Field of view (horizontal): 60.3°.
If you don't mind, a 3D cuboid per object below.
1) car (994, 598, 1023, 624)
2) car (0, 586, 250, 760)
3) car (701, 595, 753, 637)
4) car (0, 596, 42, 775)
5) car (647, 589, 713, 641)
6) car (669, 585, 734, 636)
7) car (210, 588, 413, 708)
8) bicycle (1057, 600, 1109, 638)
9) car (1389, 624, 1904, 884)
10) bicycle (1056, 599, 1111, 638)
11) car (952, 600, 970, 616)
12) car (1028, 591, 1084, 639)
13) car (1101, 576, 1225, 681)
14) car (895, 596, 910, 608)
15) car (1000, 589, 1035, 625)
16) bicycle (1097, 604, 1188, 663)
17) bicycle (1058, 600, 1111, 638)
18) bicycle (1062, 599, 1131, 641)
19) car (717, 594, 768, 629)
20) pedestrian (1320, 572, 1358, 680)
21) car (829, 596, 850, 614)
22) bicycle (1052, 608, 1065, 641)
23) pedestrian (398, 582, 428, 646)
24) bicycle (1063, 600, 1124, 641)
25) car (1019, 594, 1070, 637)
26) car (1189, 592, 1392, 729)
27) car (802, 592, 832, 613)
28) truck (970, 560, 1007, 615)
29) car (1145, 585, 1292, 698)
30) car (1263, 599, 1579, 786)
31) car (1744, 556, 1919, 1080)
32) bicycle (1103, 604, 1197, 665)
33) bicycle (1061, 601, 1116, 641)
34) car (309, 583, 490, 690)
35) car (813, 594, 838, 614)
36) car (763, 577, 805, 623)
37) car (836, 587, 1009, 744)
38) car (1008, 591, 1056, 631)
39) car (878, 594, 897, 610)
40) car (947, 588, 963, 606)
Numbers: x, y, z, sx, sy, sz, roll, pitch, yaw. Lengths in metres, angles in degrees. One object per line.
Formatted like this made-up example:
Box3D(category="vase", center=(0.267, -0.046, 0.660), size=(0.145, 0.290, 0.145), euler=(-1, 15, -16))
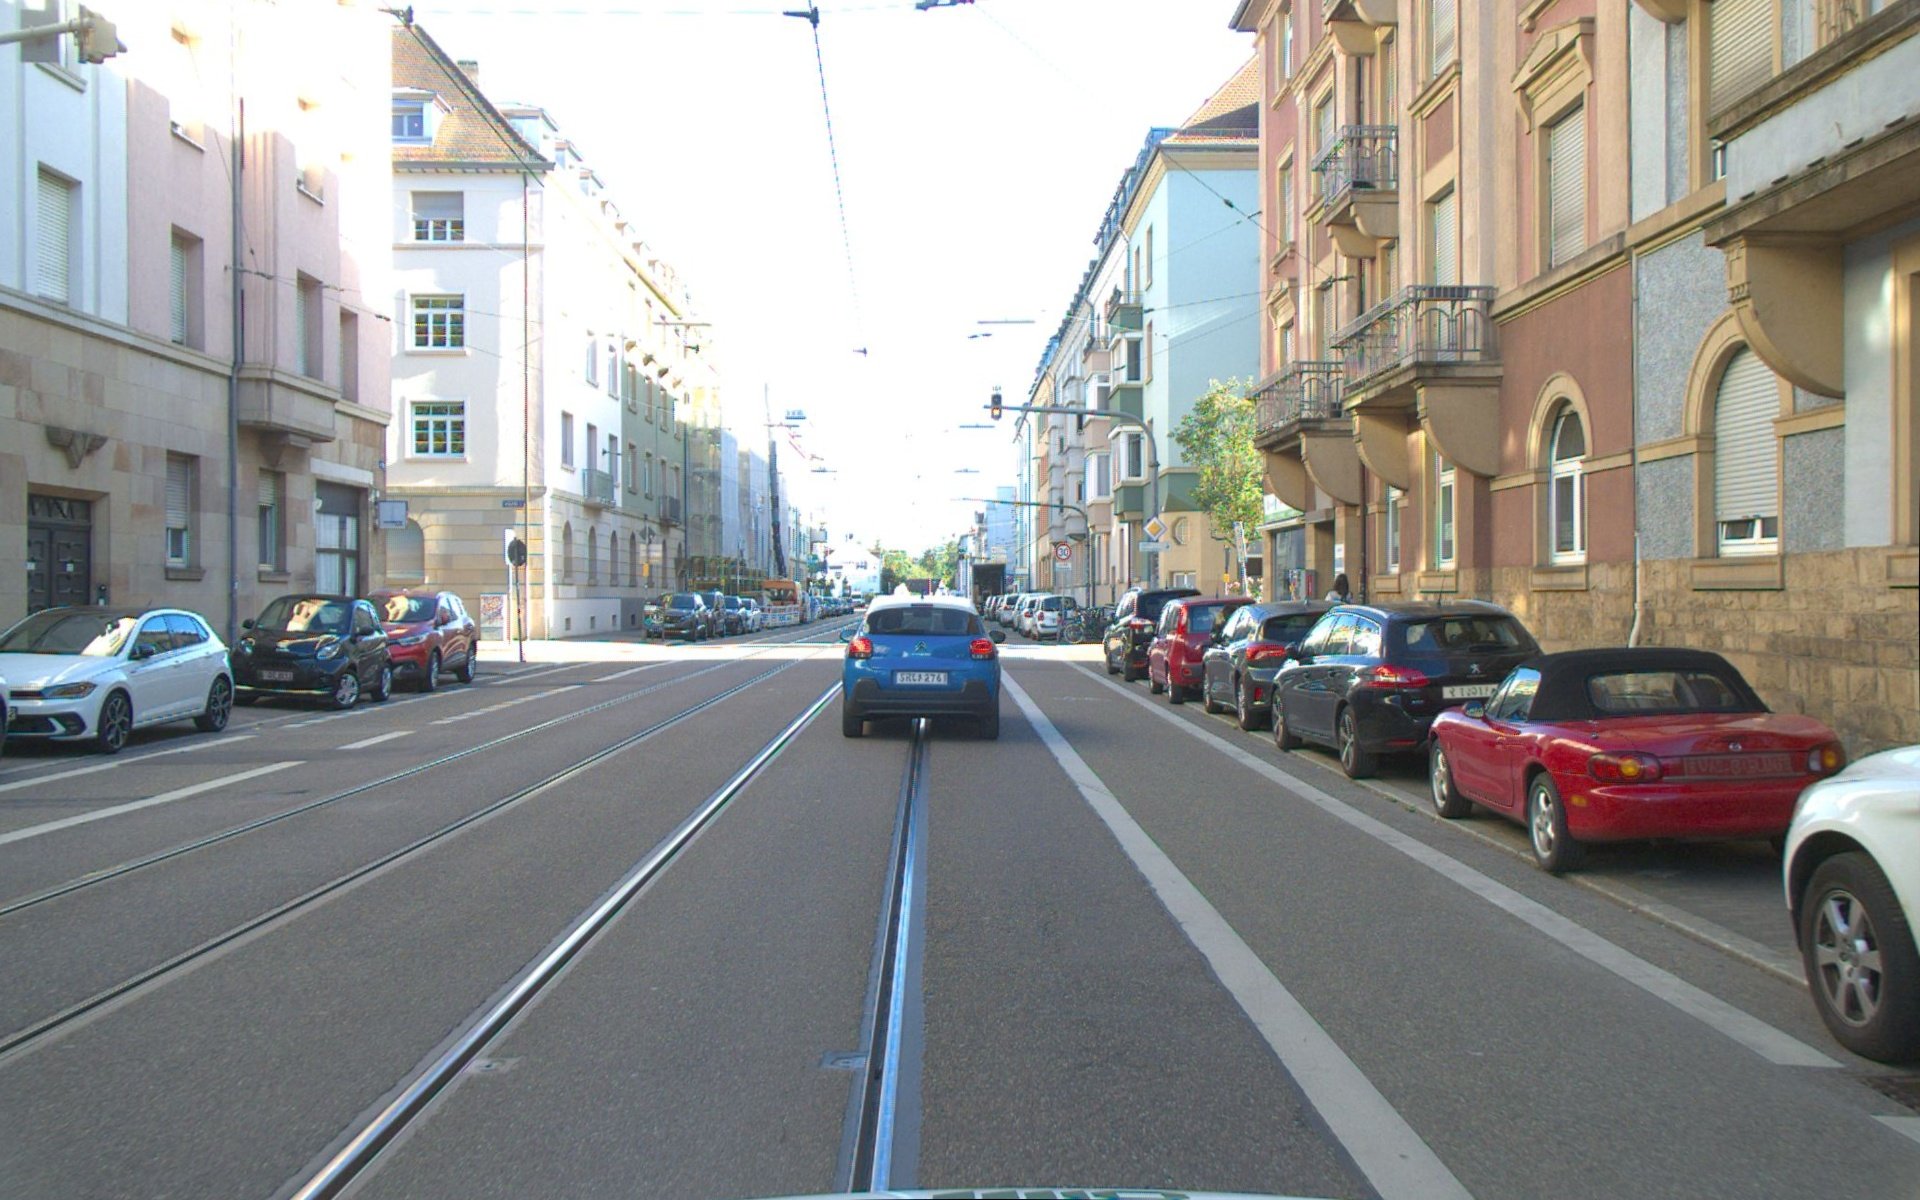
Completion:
Box3D(category="car", center=(3.004, 0.674, 103.531), size=(1.630, 1.546, 4.221), euler=(0, 0, -1))
Box3D(category="car", center=(-9.503, 0.697, 18.147), size=(1.747, 1.650, 4.177), euler=(2, 0, -3))
Box3D(category="car", center=(-9.898, 0.651, 70.489), size=(1.747, 1.655, 4.606), euler=(2, 0, -3))
Box3D(category="car", center=(-9.269, 0.739, 13.052), size=(1.736, 1.574, 4.363), euler=(2, 0, -3))
Box3D(category="car", center=(-9.946, 0.494, 59.040), size=(1.747, 1.720, 4.665), euler=(2, 0, -3))
Box3D(category="car", center=(-10.039, 0.383, 64.536), size=(1.747, 1.848, 4.528), euler=(2, 0, 0))
Box3D(category="car", center=(-9.349, 0.646, 24.069), size=(1.747, 1.580, 3.019), euler=(2, 0, -1))
Box3D(category="bicycle", center=(4.144, 0.632, 55.763), size=(1.688, 1.174, 0.469), euler=(-4, 0, -1))
Box3D(category="car", center=(4.150, 0.832, 10.847), size=(1.620, 1.271, 4.506), euler=(0, 0, 2))
Box3D(category="bicycle", center=(4.068, 0.607, 54.514), size=(1.688, 1.174, 0.469), euler=(-4, 0, -1))
Box3D(category="car", center=(0.063, 0.787, 163.362), size=(1.729, 1.513, 4.031), euler=(0, 0, -1))
Box3D(category="car", center=(3.408, 0.523, 59.167), size=(1.747, 1.660, 3.999), euler=(0, 0, -1))
Box3D(category="car", center=(3.792, 0.503, 31.585), size=(1.718, 1.766, 4.506), euler=(-3, 0, 0))
Box3D(category="car", center=(-7.529, 0.262, 216.922), size=(1.788, 1.660, 4.490), euler=(0, 0, -1))
Box3D(category="car", center=(3.031, 0.378, 88.053), size=(1.695, 1.859, 4.686), euler=(0, 0, -1))
Box3D(category="bicycle", center=(4.020, 0.726, 36.524), size=(1.919, 1.248, 0.527), euler=(-1, 0, -1))
Box3D(category="bicycle", center=(4.143, 0.630, 55.136), size=(1.688, 1.174, 0.469), euler=(-4, 0, -1))
Box3D(category="bicycle", center=(4.232, 0.611, 51.368), size=(2.044, 1.174, 0.848), euler=(-3, 0, -1))
Box3D(category="car", center=(-10.068, 0.507, 76.702), size=(1.683, 1.529, 4.388), euler=(2, 0, 1))
Box3D(category="pedestrian", center=(6.080, 0.409, 26.560), size=(0.502, 1.716, 0.448), euler=(0, 0, -1))
Box3D(category="car", center=(-11.697, 0.459, 160.405), size=(1.789, 1.660, 3.904), euler=(0, 0, -1))
Box3D(category="bicycle", center=(3.217, 0.786, 54.299), size=(0.345, 1.063, 1.728), euler=(0, 0, 1))
Box3D(category="pedestrian", center=(-15.107, 0.386, 45.688), size=(0.594, 1.742, 0.731), euler=(0, 0, -1))
Box3D(category="bicycle", center=(4.202, 0.653, 52.051), size=(1.805, 1.174, 0.469), euler=(-4, 0, -1))
Box3D(category="car", center=(3.292, 0.596, 64.847), size=(1.747, 1.603, 4.326), euler=(0, 0, -1))
Box3D(category="car", center=(4.040, 0.679, 20.898), size=(1.620, 1.539, 4.473), euler=(0, 0, -1))
Box3D(category="car", center=(-11.603, 0.188, 134.559), size=(2.101, 1.650, 3.999), euler=(-1, 0, -1))
Box3D(category="truck", center=(2.191, -0.963, 130.090), size=(2.794, 4.154, 11.271), euler=(0, 0, 0))
Box3D(category="car", center=(3.918, 0.596, 25.619), size=(1.717, 1.622, 3.729), euler=(0, 0, 0))
Box3D(category="car", center=(4.148, 0.744, 15.630), size=(1.621, 1.509, 4.472), euler=(0, 0, -2))
Box3D(category="car", center=(4.063, 0.716, 4.384), size=(1.805, 1.720, 4.504), euler=(0, 0, -1))
Box3D(category="bicycle", center=(4.060, 0.723, 35.392), size=(1.919, 1.248, 0.527), euler=(-1, 0, -1))
Box3D(category="bicycle", center=(4.179, 0.674, 53.835), size=(1.688, 1.174, 0.469), euler=(-4, 0, -1))
Box3D(category="car", center=(-9.501, 0.574, 28.398), size=(1.747, 1.634, 4.395), euler=(2, 0, -3))
Box3D(category="car", center=(-11.391, 0.349, 140.337), size=(1.788, 1.660, 4.848), euler=(0, 0, -1))
Box3D(category="car", center=(-9.937, 0.006, 93.604), size=(2.101, 2.519, 4.977), euler=(0, 0, -3))
Box3D(category="car", center=(-0.392, 0.653, 18.698), size=(1.700, 1.534, 3.992), euler=(2, 0, -1))
Box3D(category="car", center=(3.274, 0.507, 76.072), size=(1.622, 1.782, 4.598), euler=(0, 0, -5))
Box3D(category="car", center=(-7.454, 0.206, 170.492), size=(1.788, 1.660, 4.490), euler=(0, 0, -1))
Box3D(category="car", center=(-0.692, -0.419, 222.230), size=(2.174, 2.324, 4.083), euler=(0, 0, -1))
